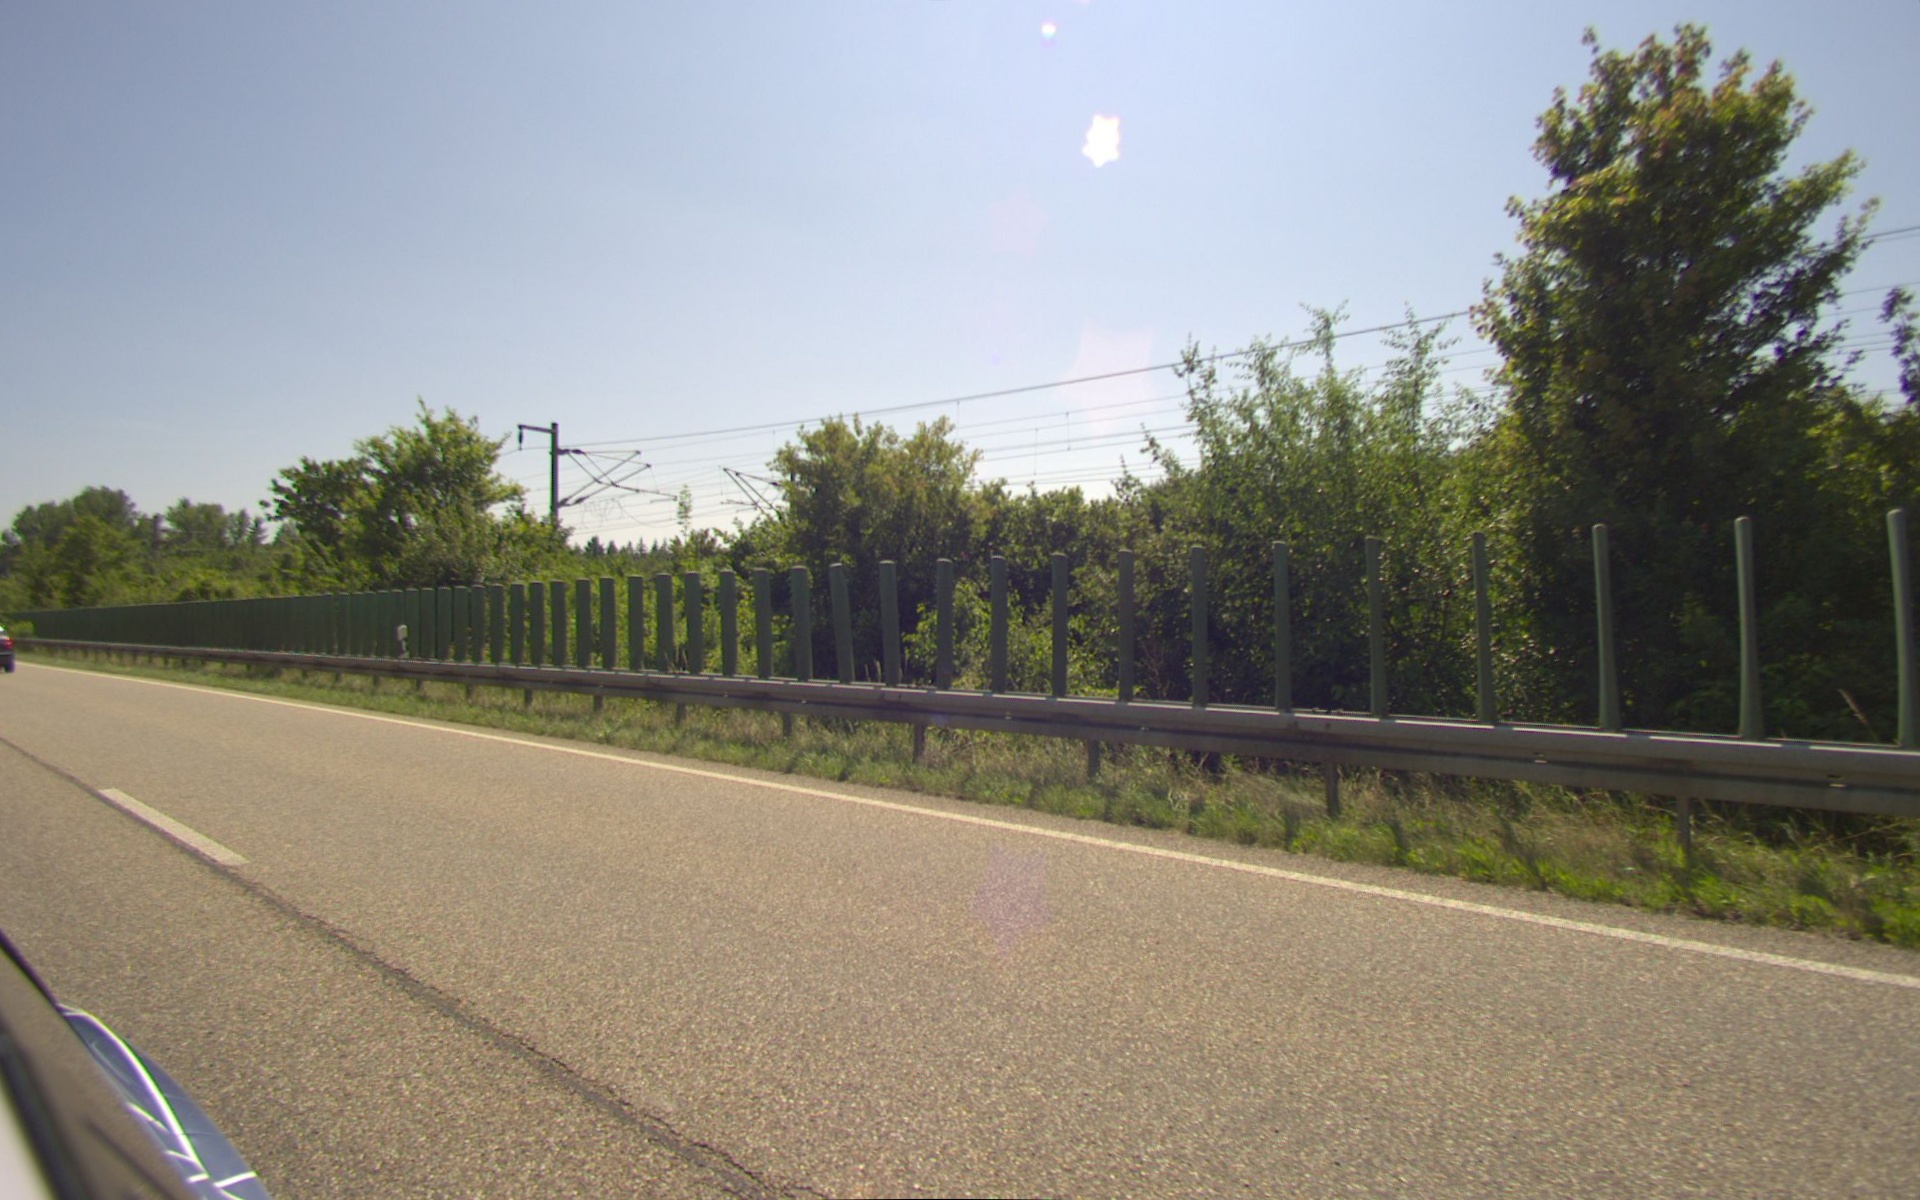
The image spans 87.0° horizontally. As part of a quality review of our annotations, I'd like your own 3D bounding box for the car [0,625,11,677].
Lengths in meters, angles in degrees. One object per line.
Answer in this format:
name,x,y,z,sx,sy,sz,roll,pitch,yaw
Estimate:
car,-29.200,1.499,29.645,3.673,1.490,1.632,-2,-1,40
